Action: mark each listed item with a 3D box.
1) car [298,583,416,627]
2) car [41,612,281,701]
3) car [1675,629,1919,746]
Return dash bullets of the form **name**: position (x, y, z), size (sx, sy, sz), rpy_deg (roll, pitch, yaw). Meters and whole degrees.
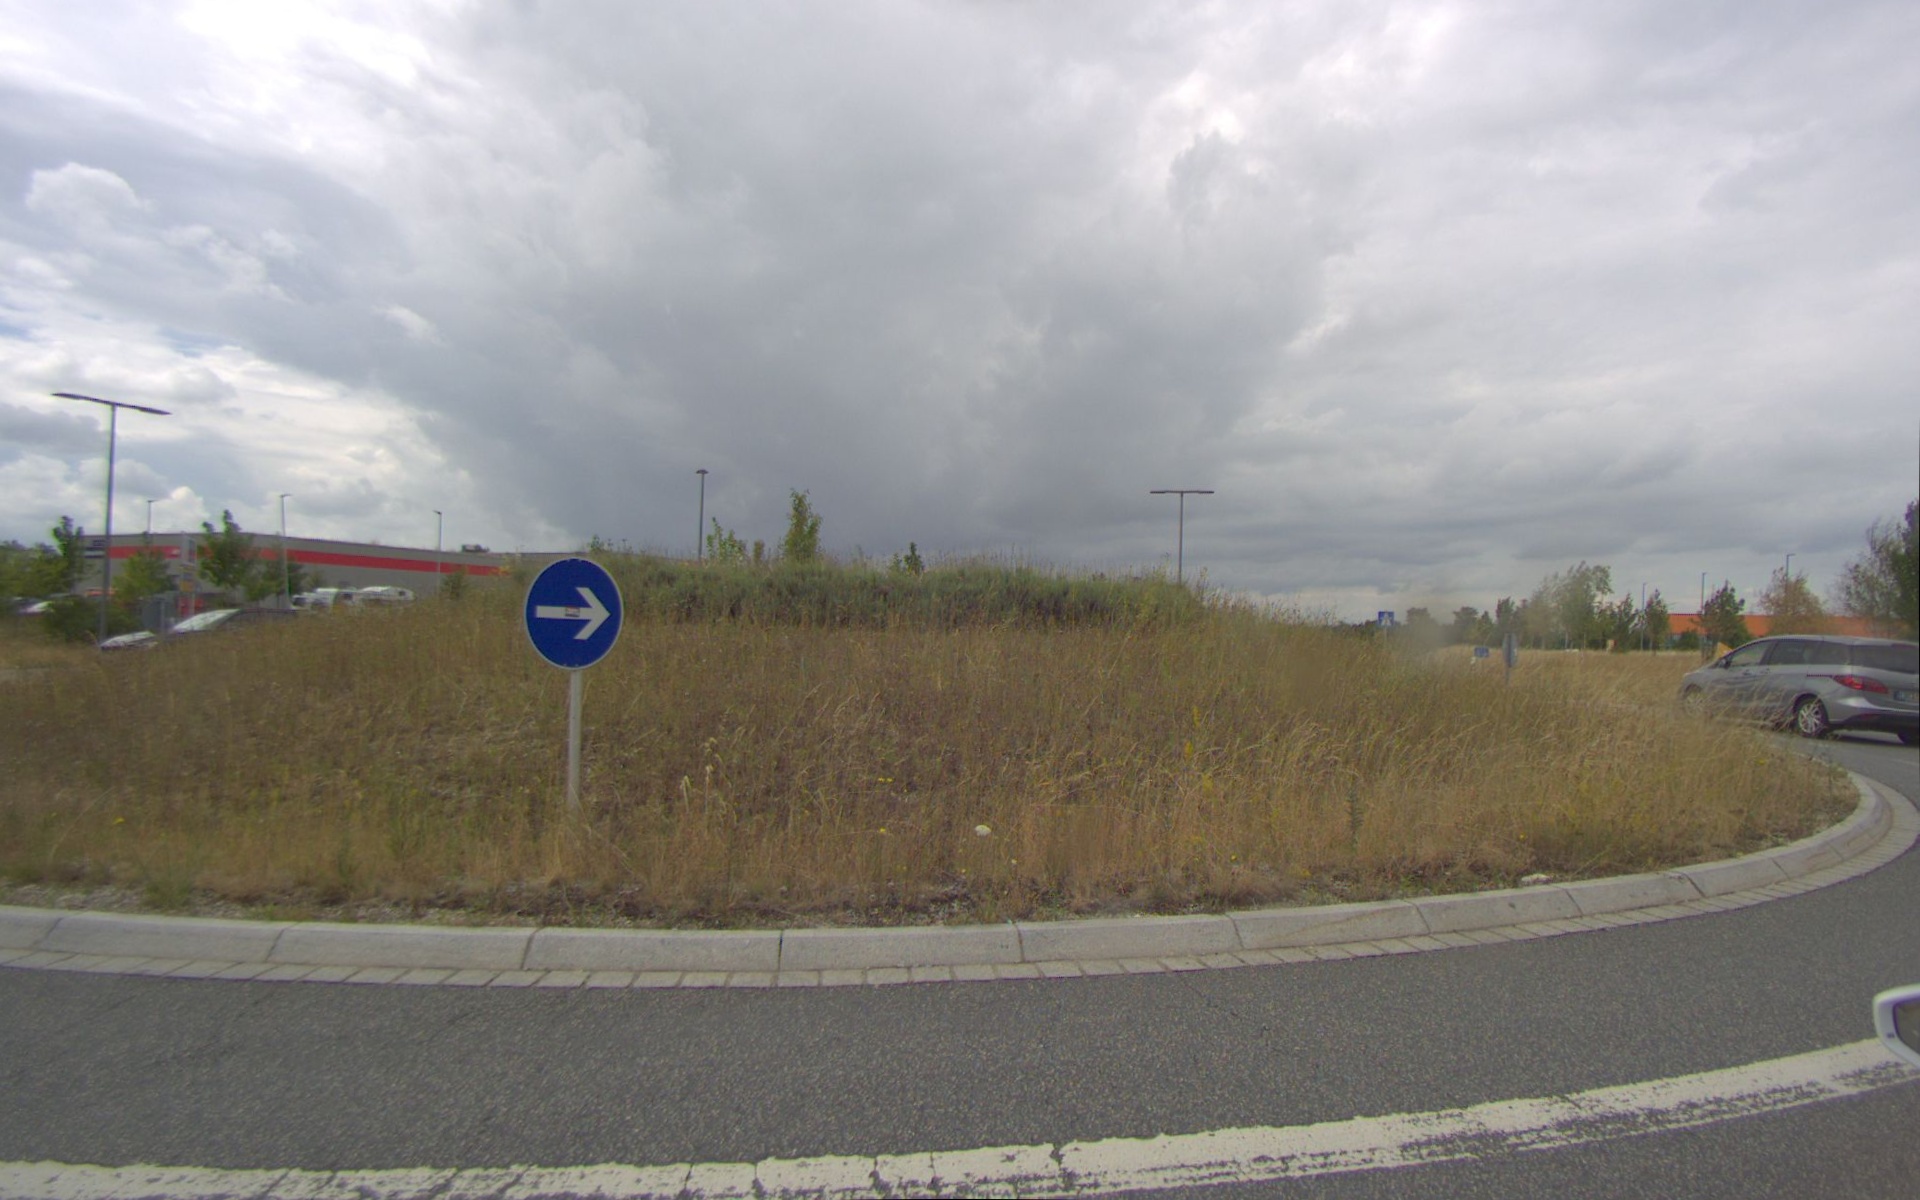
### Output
- **car**: position (-45.957, 0.479, 76.887), size (2.423, 2.856, 7.691), rpy_deg (3, -2, 21)
- **car**: position (-17.161, 1.179, 21.918), size (1.963, 1.629, 4.294), rpy_deg (4, -2, -6)
- **car**: position (13.991, 1.347, 16.585), size (1.708, 1.620, 4.000), rpy_deg (3, -1, 5)
